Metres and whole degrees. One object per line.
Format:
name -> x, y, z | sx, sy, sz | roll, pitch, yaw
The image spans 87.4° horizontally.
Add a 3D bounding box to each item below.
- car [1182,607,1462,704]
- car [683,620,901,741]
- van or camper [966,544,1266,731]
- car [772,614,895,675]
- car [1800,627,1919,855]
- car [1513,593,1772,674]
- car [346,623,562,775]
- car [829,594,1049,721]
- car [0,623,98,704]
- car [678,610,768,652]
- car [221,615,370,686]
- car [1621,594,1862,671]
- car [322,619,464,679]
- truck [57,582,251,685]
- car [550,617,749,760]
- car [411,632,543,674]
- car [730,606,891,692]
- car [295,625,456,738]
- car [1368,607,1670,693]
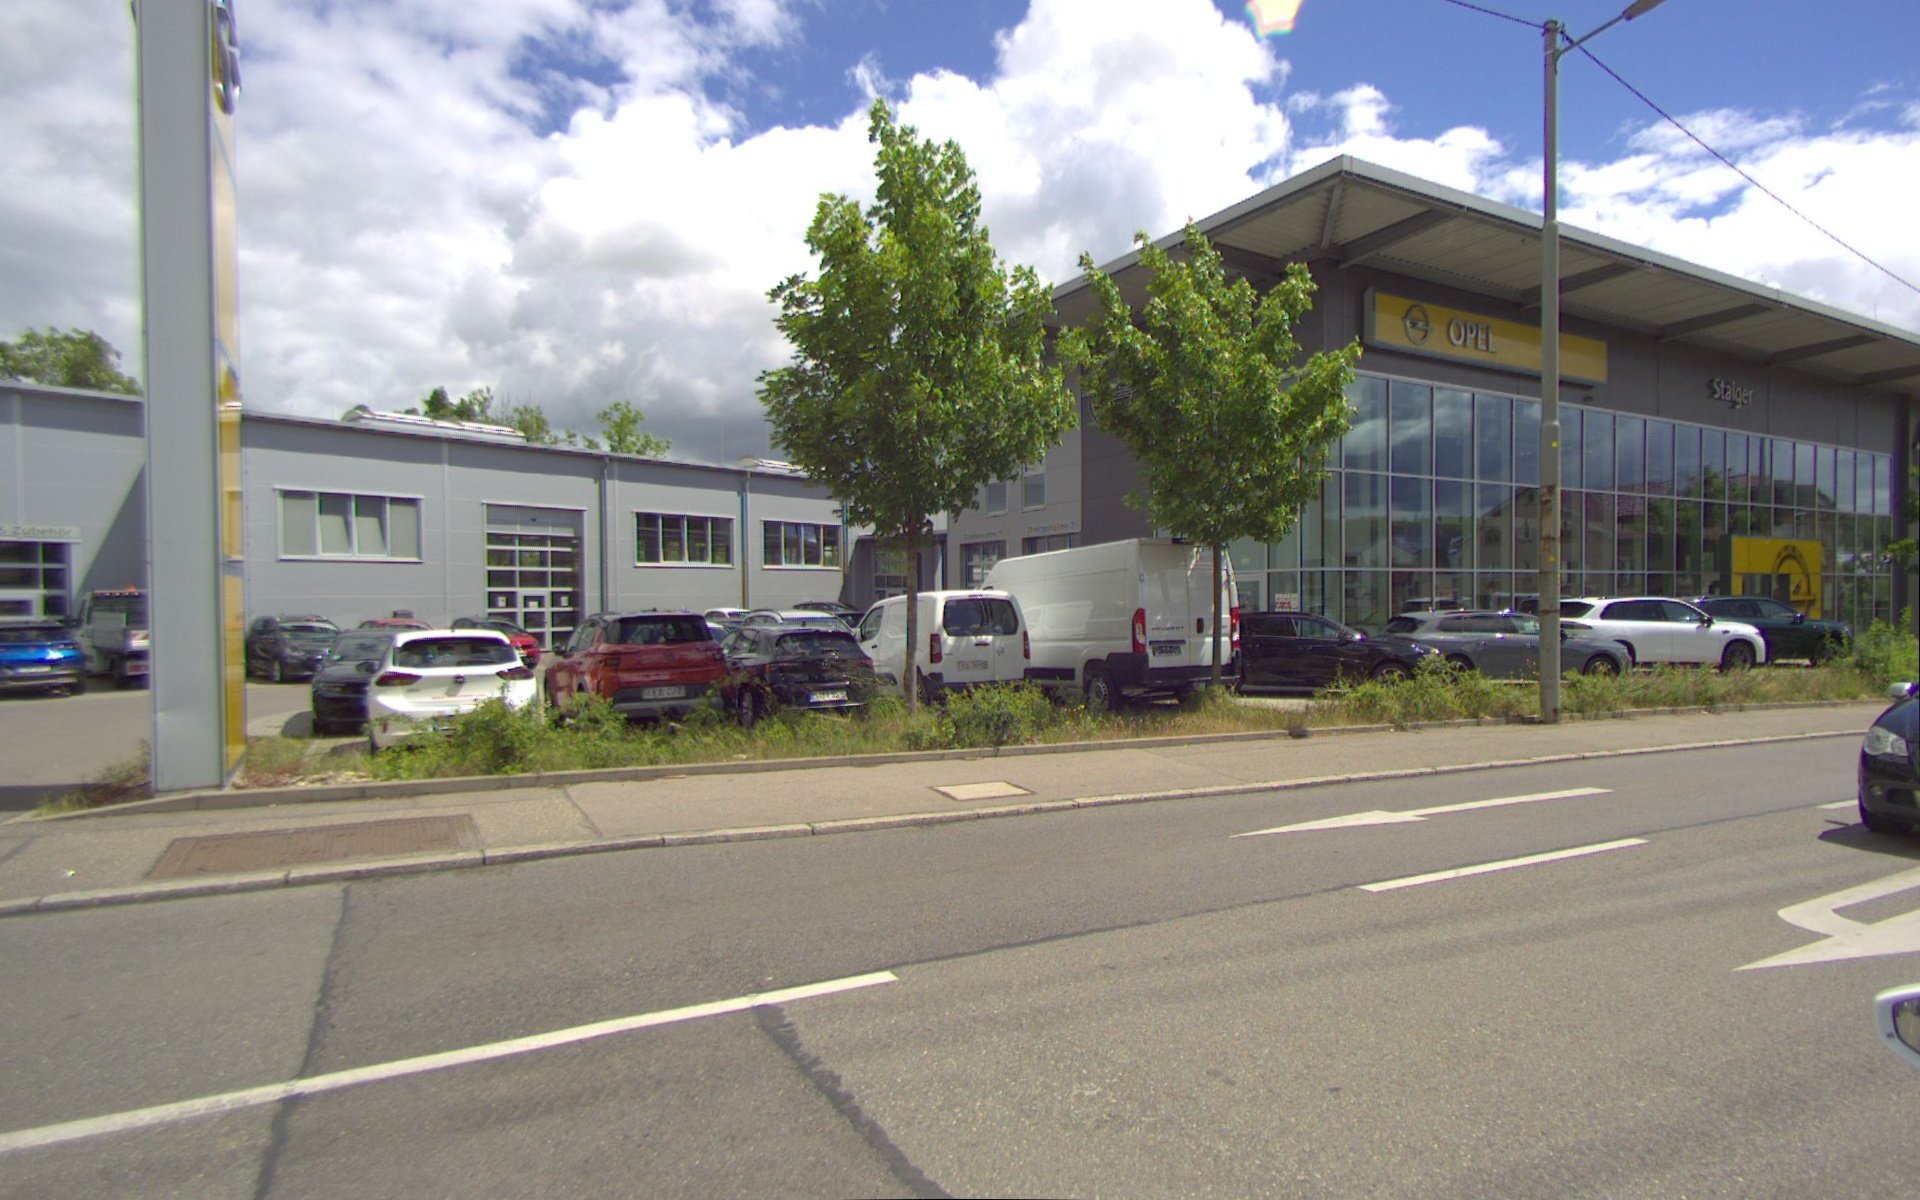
car -> 6.257, 0.915, 17.673 | 4.388, 1.529, 1.944 | 0, -1, 19
car -> -2.585, 1.061, 14.666 | 1.905, 1.428, 3.969 | 1, -1, -29
van or camper -> 2.328, 0.494, 16.519 | 2.290, 2.565, 5.004 | -1, 1, -29
car -> -3.445, 1.134, 26.853 | 1.828, 1.417, 3.672 | -1, 1, -34
car -> 8.400, 0.988, 7.653 | 4.228, 1.529, 1.820 | 1, -1, -31
car -> 14.778, 0.719, 21.873 | 4.468, 1.593, 1.935 | 1, -1, -6
car -> -6.185, 1.038, 12.147 | 1.977, 1.428, 3.968 | 1, -1, -30
car -> -0.474, 0.791, 16.150 | 1.975, 1.729, 3.971 | -1, 1, -28
car -> -20.490, 1.305, 21.817 | 4.176, 1.516, 1.920 | 1, -1, 38
car -> -8.876, 1.117, 37.489 | 3.430, 1.417, 1.653 | 0, 1, 43
car -> -16.982, 1.225, 25.611 | 4.175, 1.603, 1.921 | 1, -1, 38
car -> 18.863, 0.740, 24.378 | 4.398, 1.721, 1.999 | -1, 1, -4
car -> -15.567, 1.279, 27.506 | 4.175, 1.428, 1.921 | 1, -1, 38
truck -> -20.250, 0.800, 25.124 | 6.220, 2.258, 2.689 | 0, -2, 41
car -> -4.323, 1.035, 13.561 | 1.974, 1.511, 3.973 | -1, 1, -26
car -> -14.163, 1.505, 29.349 | 4.229, 1.037, 1.787 | 1, -1, 38
car -> -3.179, 0.932, 20.686 | 1.905, 1.556, 4.209 | 1, -1, -29
car -> -9.091, 1.159, 15.776 | 1.905, 1.428, 4.209 | 1, -1, -29
car -> 10.535, 0.910, 19.180 | 4.738, 1.470, 1.900 | -1, 1, -1
